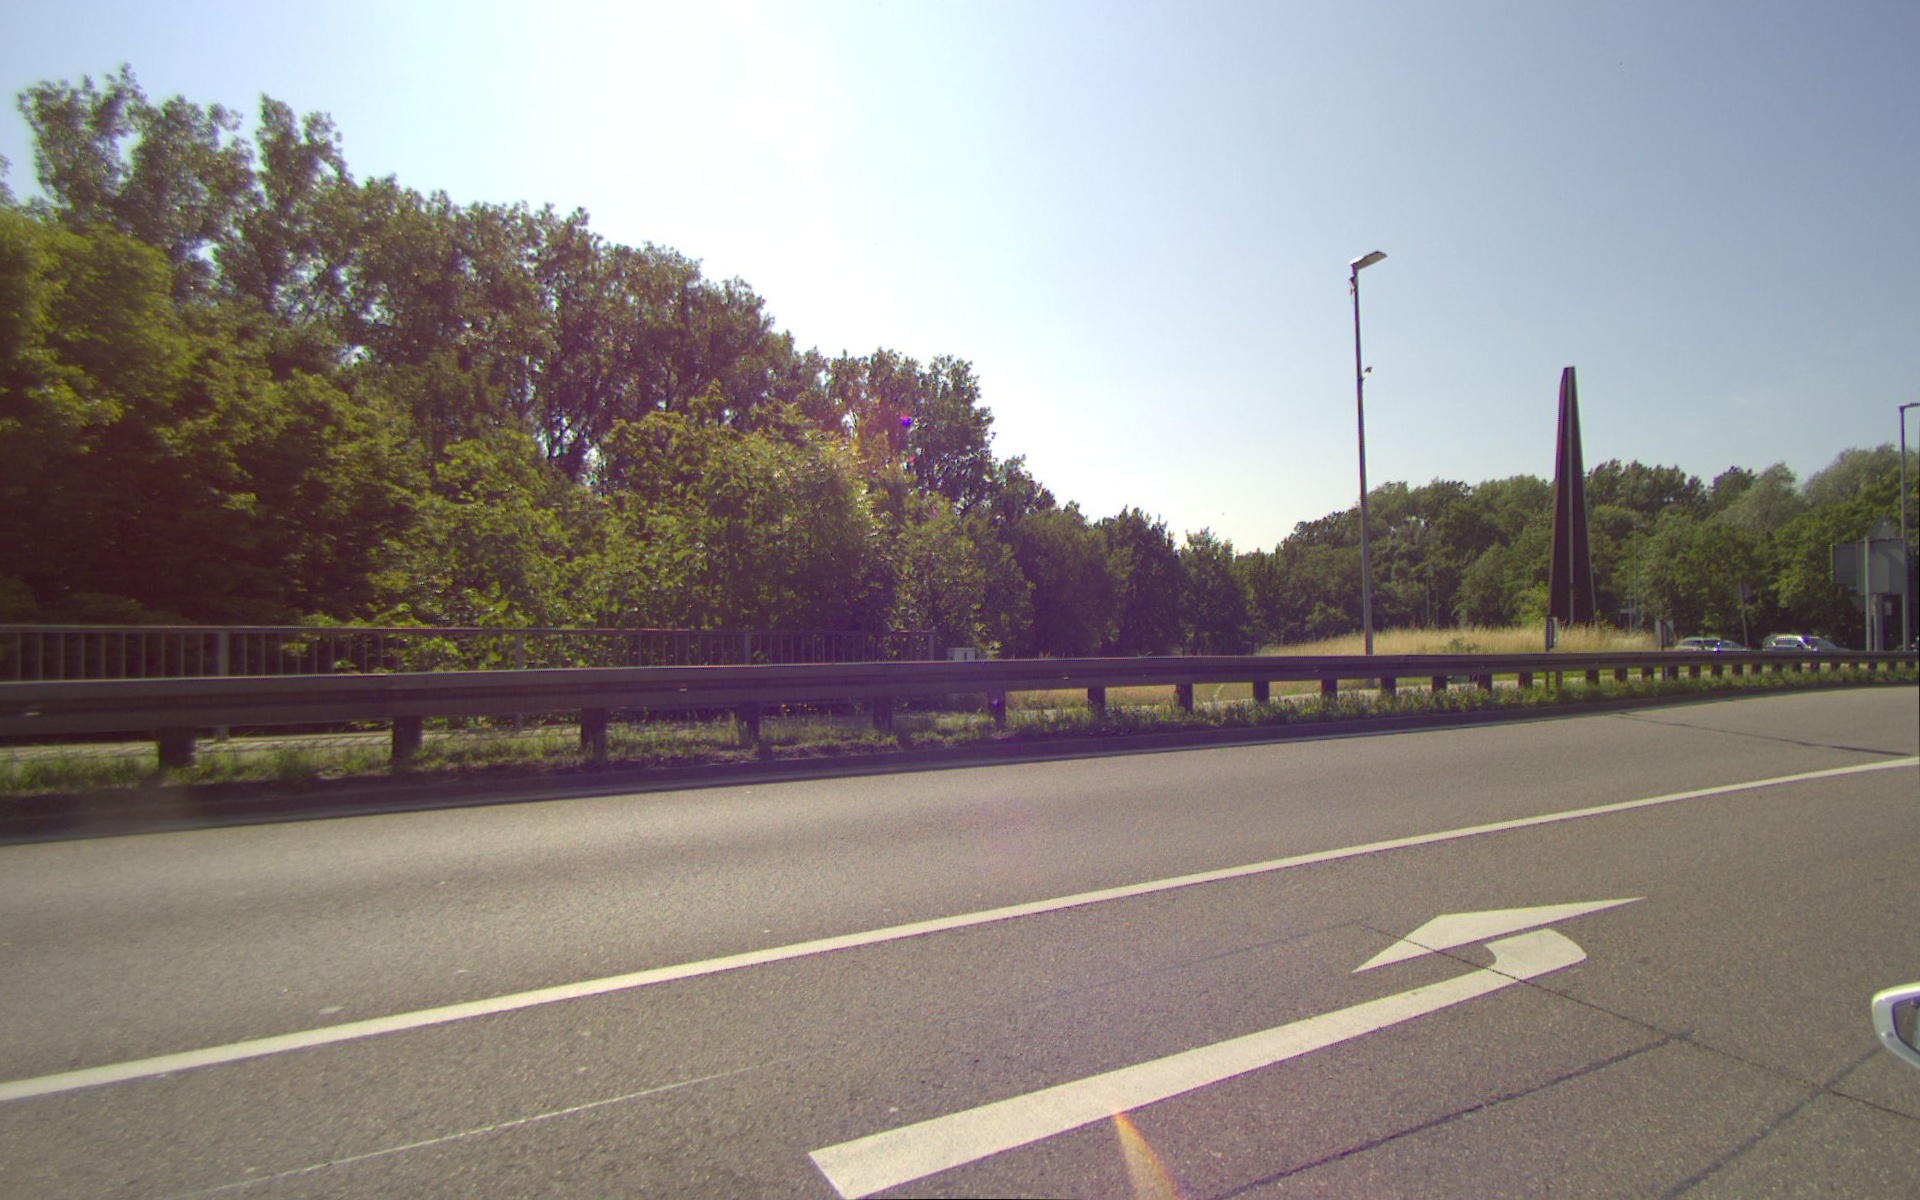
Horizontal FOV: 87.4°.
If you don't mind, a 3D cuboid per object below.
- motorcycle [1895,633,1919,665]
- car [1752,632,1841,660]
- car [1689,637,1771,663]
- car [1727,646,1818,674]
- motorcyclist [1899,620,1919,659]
[{"bbox_3d":[48.166,2.478,50.278,0.882,1.548,1.983,2,-3,-1],"label":"motorcycle"},{"bbox_3d":[47.105,2.630,56.683,1.732,1.406,4.003,3,-4,1],"label":"car"},{"bbox_3d":[47.943,3.151,62.633,2.081,1.406,4.003,3,-4,1],"label":"car"},{"bbox_3d":[46.972,3.491,58.147,2.081,1.406,4.003,3,-4,1],"label":"car"},{"bbox_3d":[48.172,2.004,50.325,0.875,1.894,1.465,2,-4,-1],"label":"motorcyclist"}]
